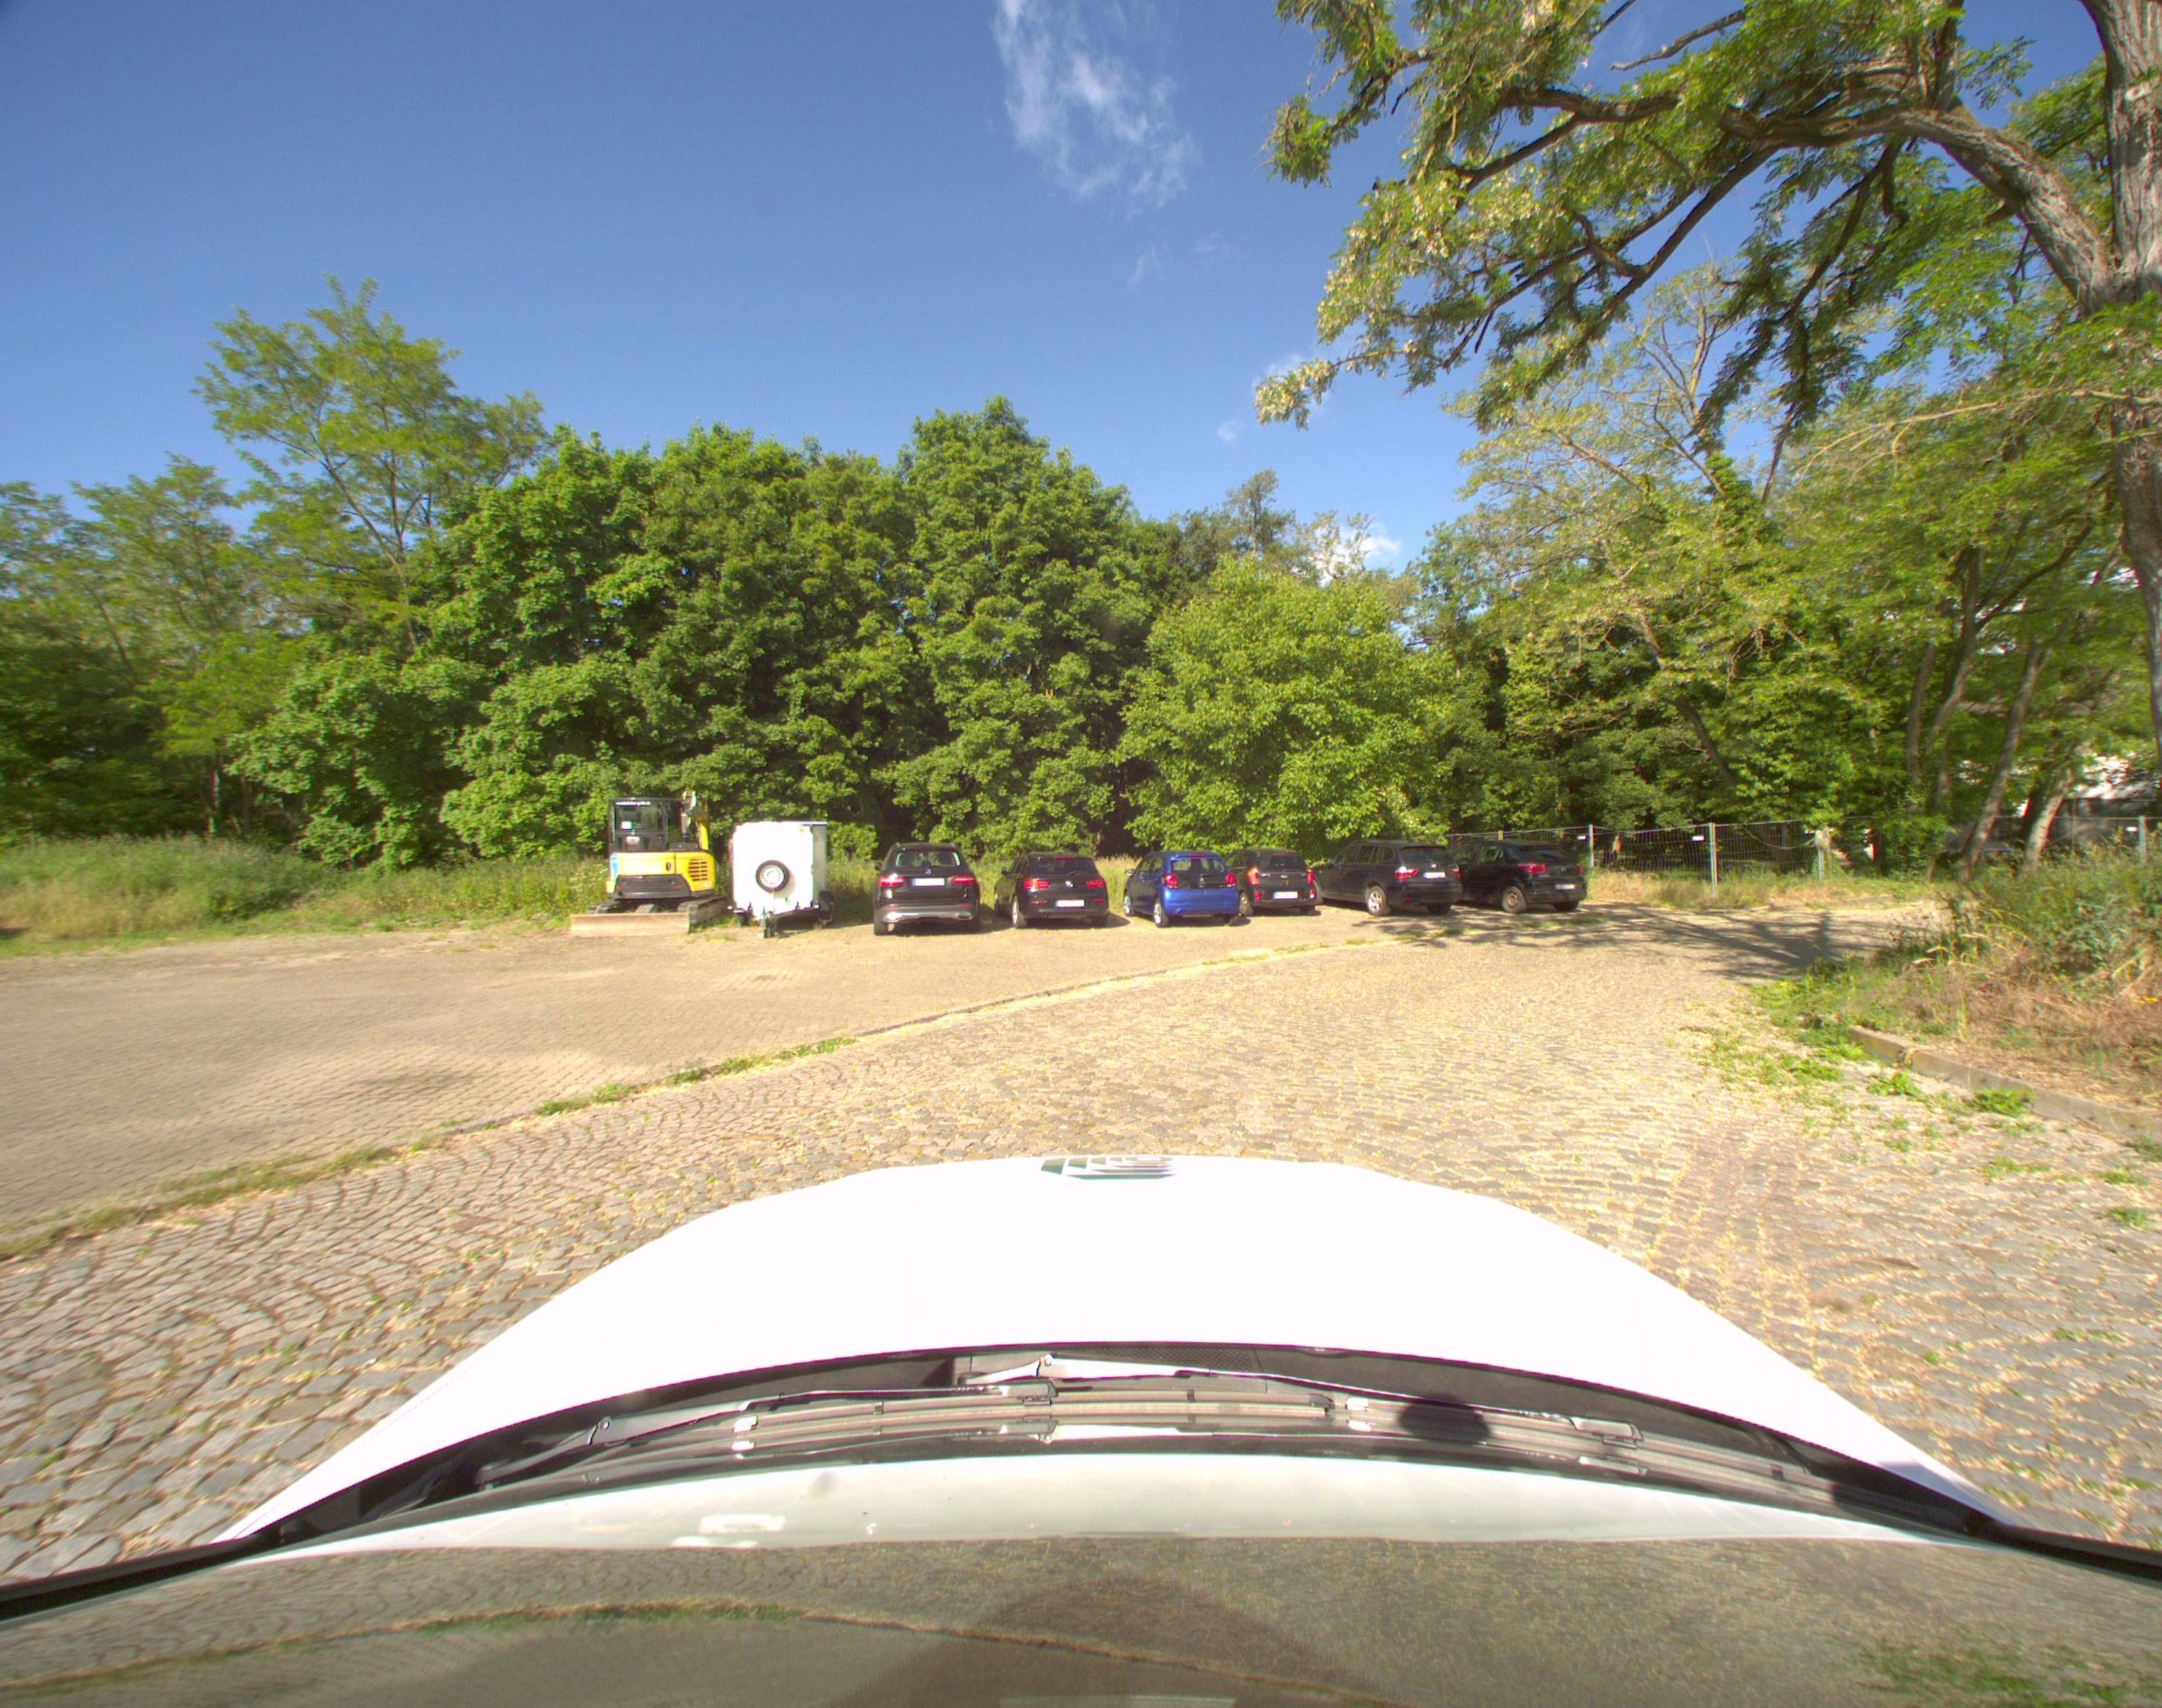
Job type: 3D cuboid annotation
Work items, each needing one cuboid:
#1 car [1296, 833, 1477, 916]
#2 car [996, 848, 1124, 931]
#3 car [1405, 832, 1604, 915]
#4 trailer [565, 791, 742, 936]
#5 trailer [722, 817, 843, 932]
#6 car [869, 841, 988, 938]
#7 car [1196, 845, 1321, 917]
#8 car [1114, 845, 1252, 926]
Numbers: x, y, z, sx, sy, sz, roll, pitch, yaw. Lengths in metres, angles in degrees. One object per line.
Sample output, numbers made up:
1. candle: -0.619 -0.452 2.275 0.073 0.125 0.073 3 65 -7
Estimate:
1. car: 6.962 0.371 19.082 1.877 1.630 4.253 0 2 -14
2. car: -0.545 0.616 16.433 1.891 1.411 3.774 0 1 -13
3. car: 10.032 0.359 19.717 1.828 1.588 4.249 -2 4 -17
4. trailer: -8.146 0.078 15.866 2.260 2.538 2.840 0 3 -11
5. trailer: -5.791 0.332 16.126 1.819 2.050 2.839 0 1 -11
6. car: -2.996 0.559 15.715 1.966 1.589 4.113 0 1 -13
7. car: 3.999 0.545 18.981 1.737 1.451 3.716 0 1 -7
8. car: 2.001 0.554 17.112 1.781 1.458 3.775 0 1 -12
